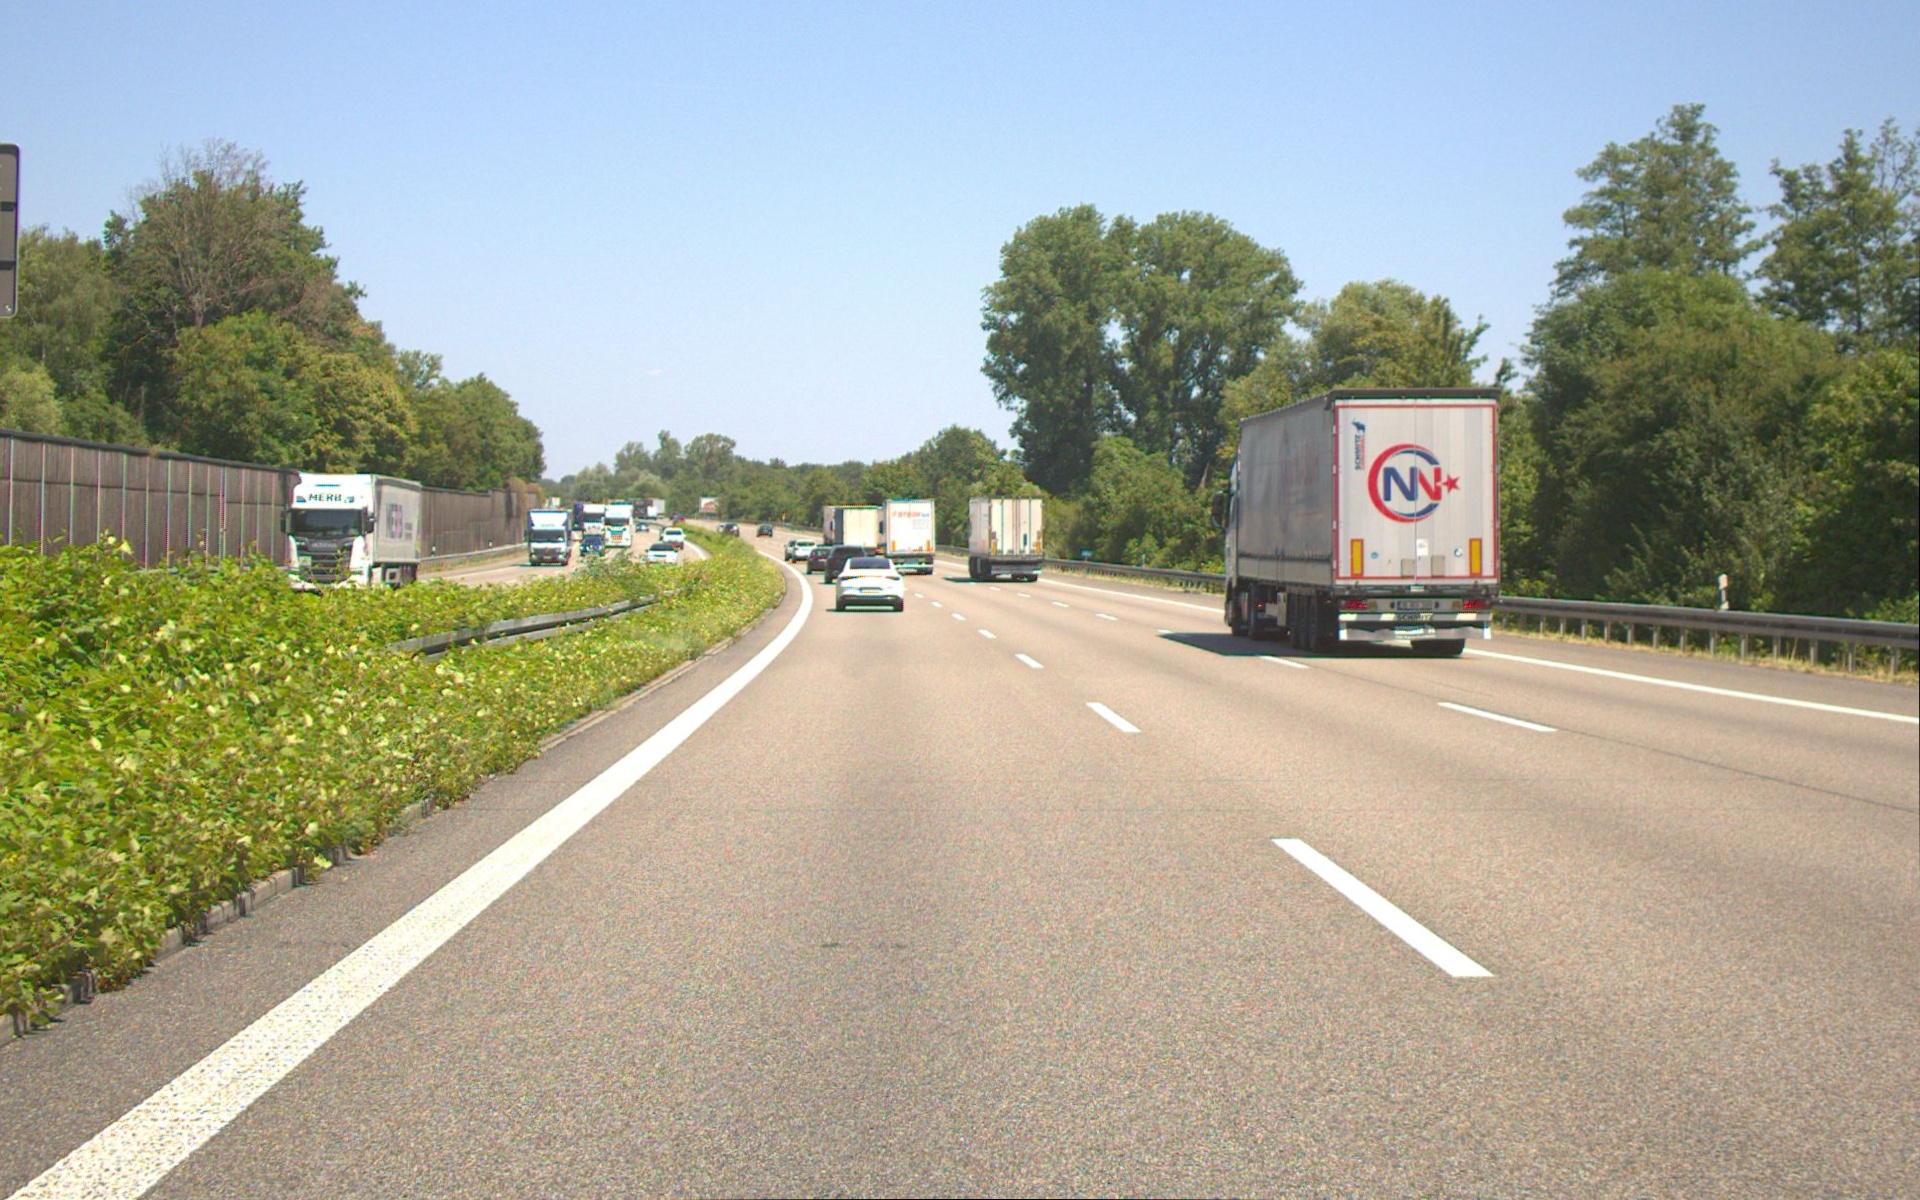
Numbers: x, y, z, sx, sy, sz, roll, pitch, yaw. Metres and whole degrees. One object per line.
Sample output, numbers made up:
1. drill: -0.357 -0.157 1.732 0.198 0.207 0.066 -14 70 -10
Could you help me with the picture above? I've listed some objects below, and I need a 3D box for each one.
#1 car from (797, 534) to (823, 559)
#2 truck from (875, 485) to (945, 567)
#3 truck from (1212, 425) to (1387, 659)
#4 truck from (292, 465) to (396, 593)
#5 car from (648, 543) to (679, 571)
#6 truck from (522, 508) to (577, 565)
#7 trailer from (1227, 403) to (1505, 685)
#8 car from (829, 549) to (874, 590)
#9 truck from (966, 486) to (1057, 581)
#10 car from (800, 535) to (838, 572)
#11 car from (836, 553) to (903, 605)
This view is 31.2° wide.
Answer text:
1. car: -10.511 -3.758 241.348 1.723 1.777 4.001 0 1 -4
2. truck: -2.772 -4.025 188.505 3.359 4.296 10.830 1 1 -3
3. truck: 6.459 -1.110 66.033 2.605 4.272 5.436 1 1 -2
4. truck: -20.183 -2.313 112.905 2.520 4.052 6.371 1 1 -2
5. car: -17.395 -2.543 201.687 1.583 1.583 4.000 1 1 -1
6. truck: -26.392 -4.085 221.336 2.833 3.597 8.746 0 1 -2
7. trailer: 6.700 -0.959 59.151 2.624 4.246 14.062 1 1 -2
8. car: -4.871 -1.385 154.078 1.993 1.766 4.001 0 1 -2
9. truck: 2.364 -3.129 163.134 3.492 4.296 10.990 1 1 -3
10. car: -7.781 -2.564 189.962 1.993 2.007 4.001 0 1 -4
11. car: -2.441 -0.577 93.441 1.715 1.365 3.375 0 1 0
